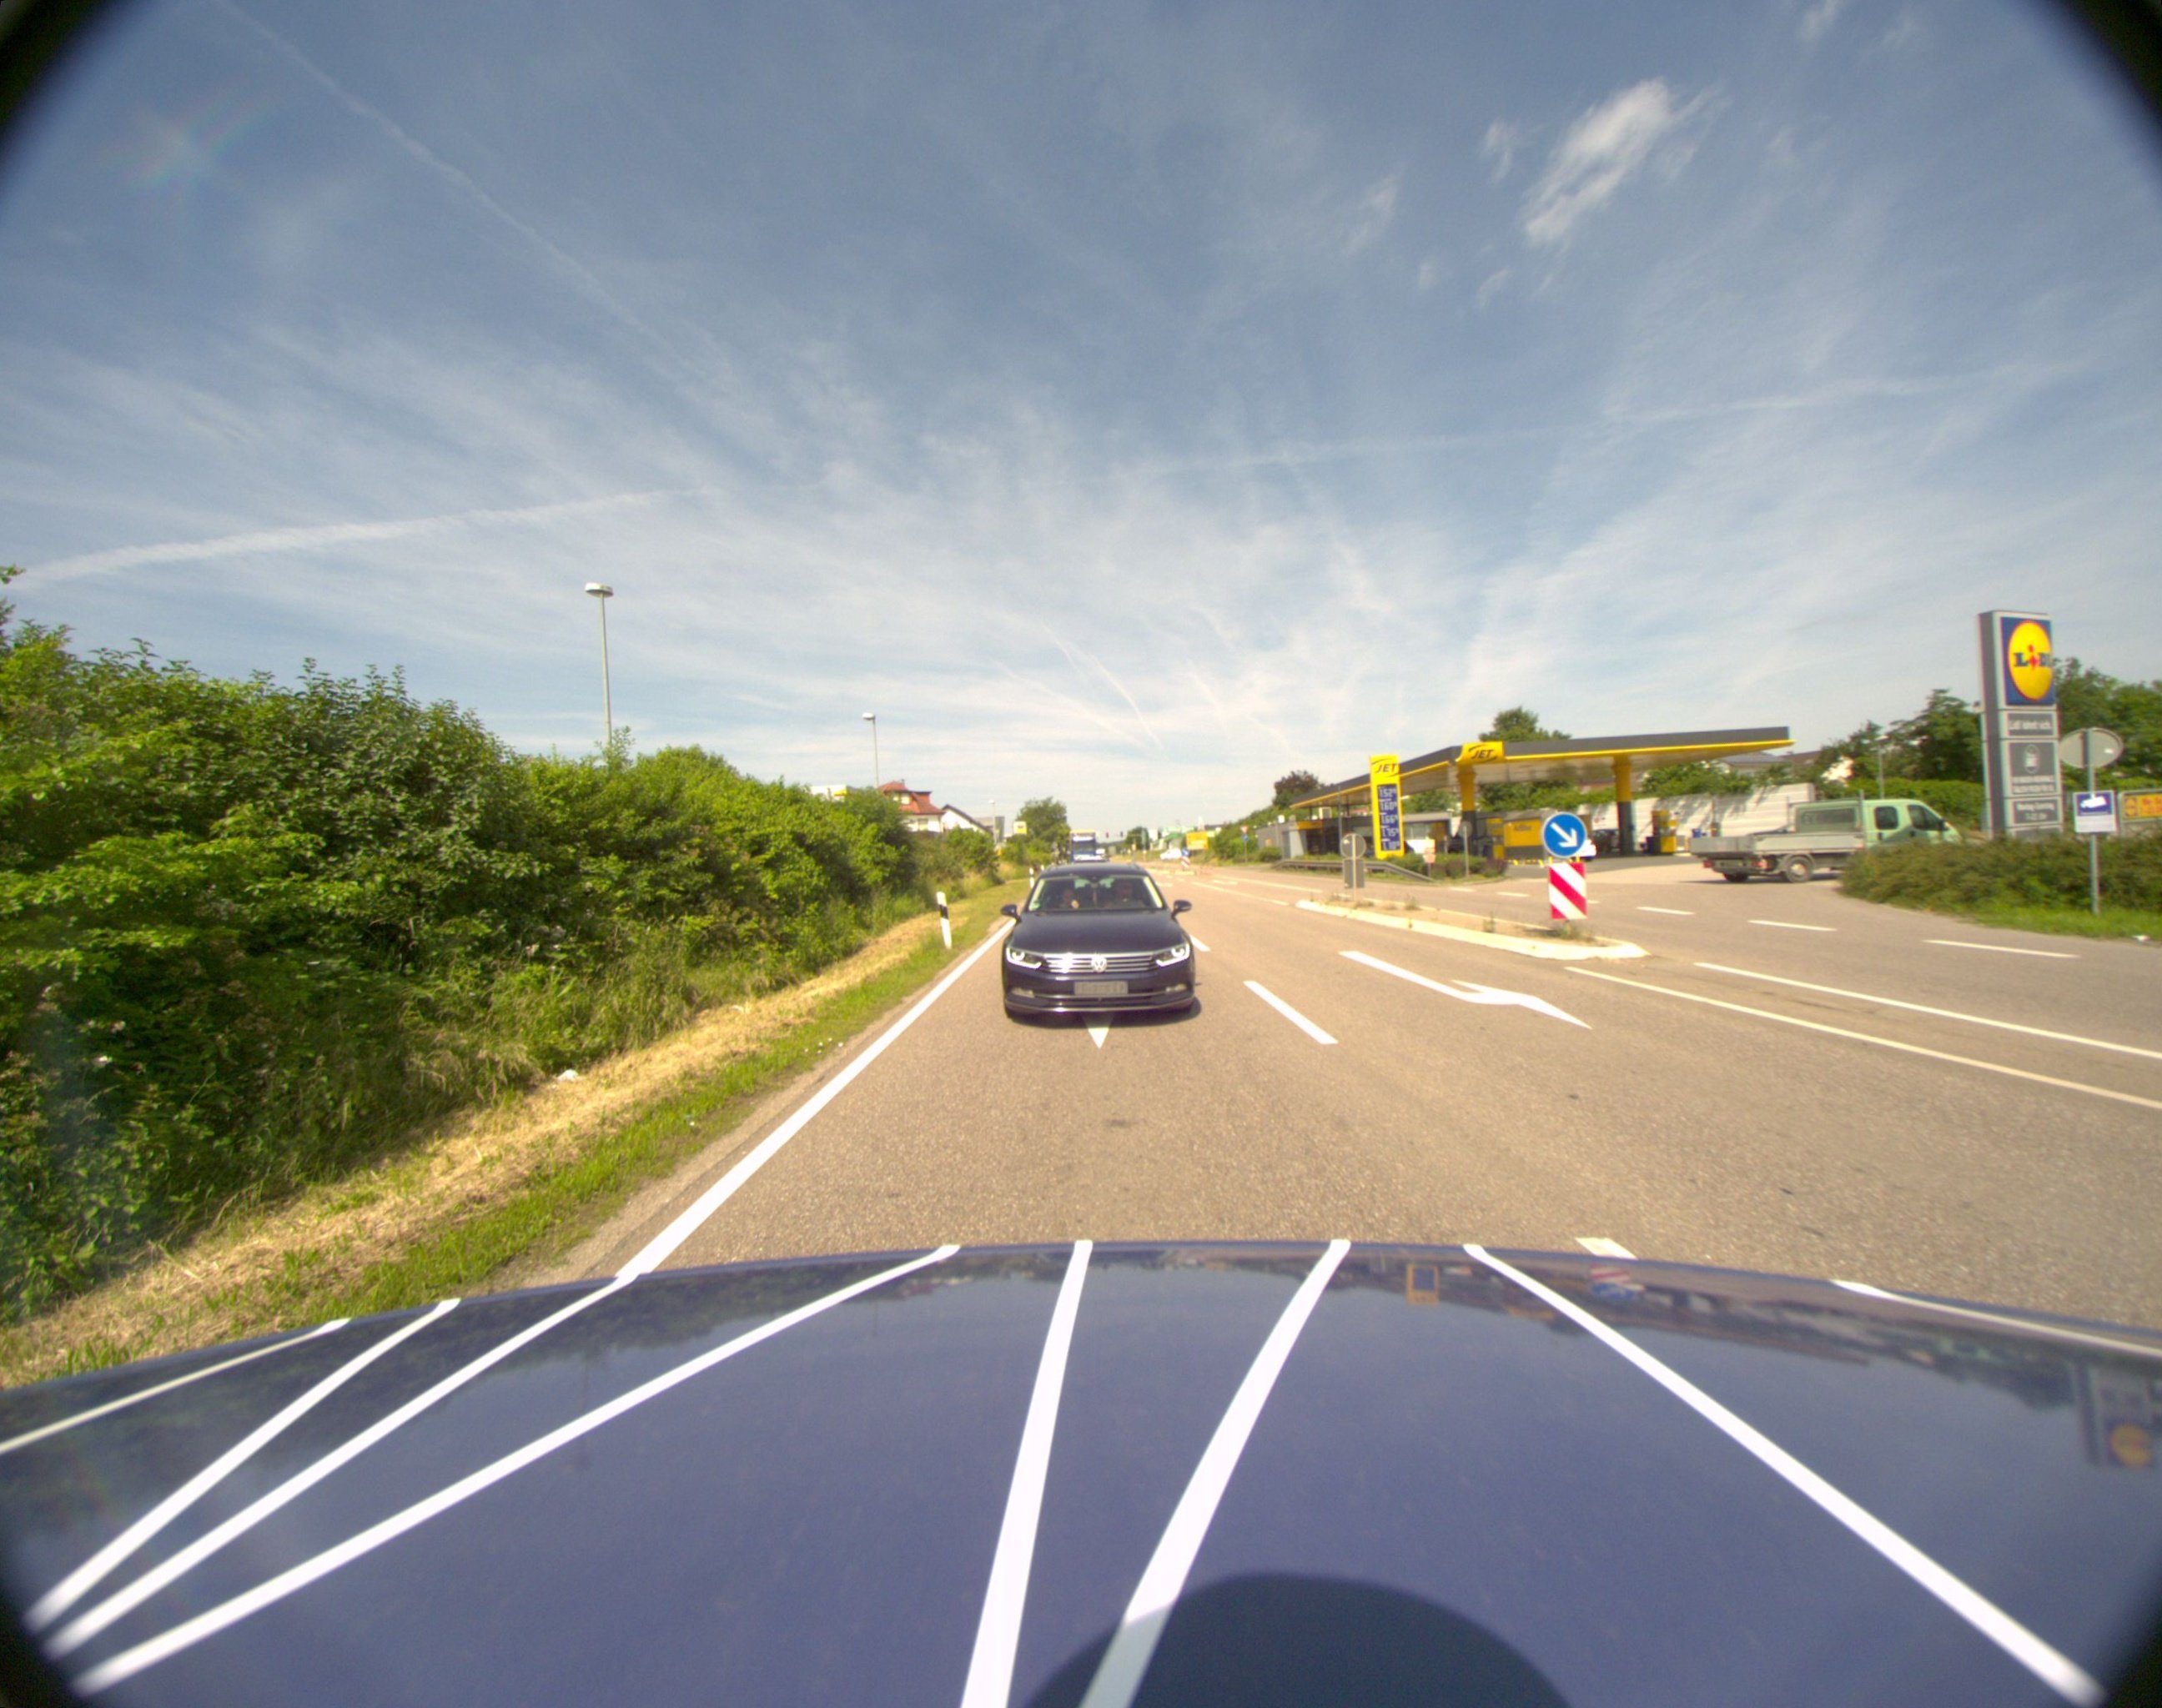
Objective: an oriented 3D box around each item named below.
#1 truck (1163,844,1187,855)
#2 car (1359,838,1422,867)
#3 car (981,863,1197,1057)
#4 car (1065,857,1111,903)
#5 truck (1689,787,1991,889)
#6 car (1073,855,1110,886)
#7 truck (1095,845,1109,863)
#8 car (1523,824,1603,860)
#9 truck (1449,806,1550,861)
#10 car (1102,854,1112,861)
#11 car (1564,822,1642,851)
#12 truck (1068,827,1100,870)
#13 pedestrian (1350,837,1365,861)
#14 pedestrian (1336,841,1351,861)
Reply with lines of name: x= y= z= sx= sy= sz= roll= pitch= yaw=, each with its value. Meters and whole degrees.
truck: x=19.742 y=-0.888 z=159.567 sx=4.772 sy=1.997 sz=1.999 roll=-3 pitch=0 yaw=-3
car: x=19.210 y=-0.082 z=47.390 sx=1.999 sy=1.696 sz=4.264 roll=-2 pitch=0 yaw=-3
car: x=0.116 y=0.922 z=8.827 sx=1.756 sy=1.493 sz=4.925 roll=-2 pitch=0 yaw=1
car: x=0.265 y=0.855 z=26.654 sx=1.471 sy=1.451 sz=3.797 roll=-2 pitch=0 yaw=1
truck: x=21.032 y=-0.438 z=21.237 sx=6.347 sy=2.361 sz=2.248 roll=-3 pitch=0 yaw=-3
car: x=0.576 y=0.848 z=40.510 sx=1.814 sy=1.466 sz=3.974 roll=-2 pitch=0 yaw=1
truck: x=4.872 y=0.007 z=177.748 sx=2.855 sy=3.999 sz=12.916 roll=-2 pitch=0 yaw=1
car: x=24.378 y=-0.548 z=38.591 sx=1.736 sy=1.717 sz=4.001 roll=-1 pitch=0 yaw=4
truck: x=24.007 y=-1.148 z=43.986 sx=2.250 sy=2.906 sz=6.282 roll=-2 pitch=1 yaw=-1
car: x=4.705 y=0.597 z=136.679 sx=1.786 sy=1.210 sz=4.000 roll=-3 pitch=0 yaw=2
car: x=32.363 y=-1.069 z=47.256 sx=1.753 sy=1.603 sz=3.873 roll=-2 pitch=0 yaw=-10
truck: x=0.388 y=-0.563 z=78.741 sx=2.855 sy=3.999 sz=12.916 roll=-2 pitch=0 yaw=1
pedestrian: x=21.231 y=-0.359 z=58.351 sx=0.798 sy=1.827 sz=0.640 roll=-3 pitch=0 yaw=1
pedestrian: x=18.349 y=-0.212 z=53.056 sx=0.914 sy=1.419 sz=0.494 roll=-2 pitch=1 yaw=12
